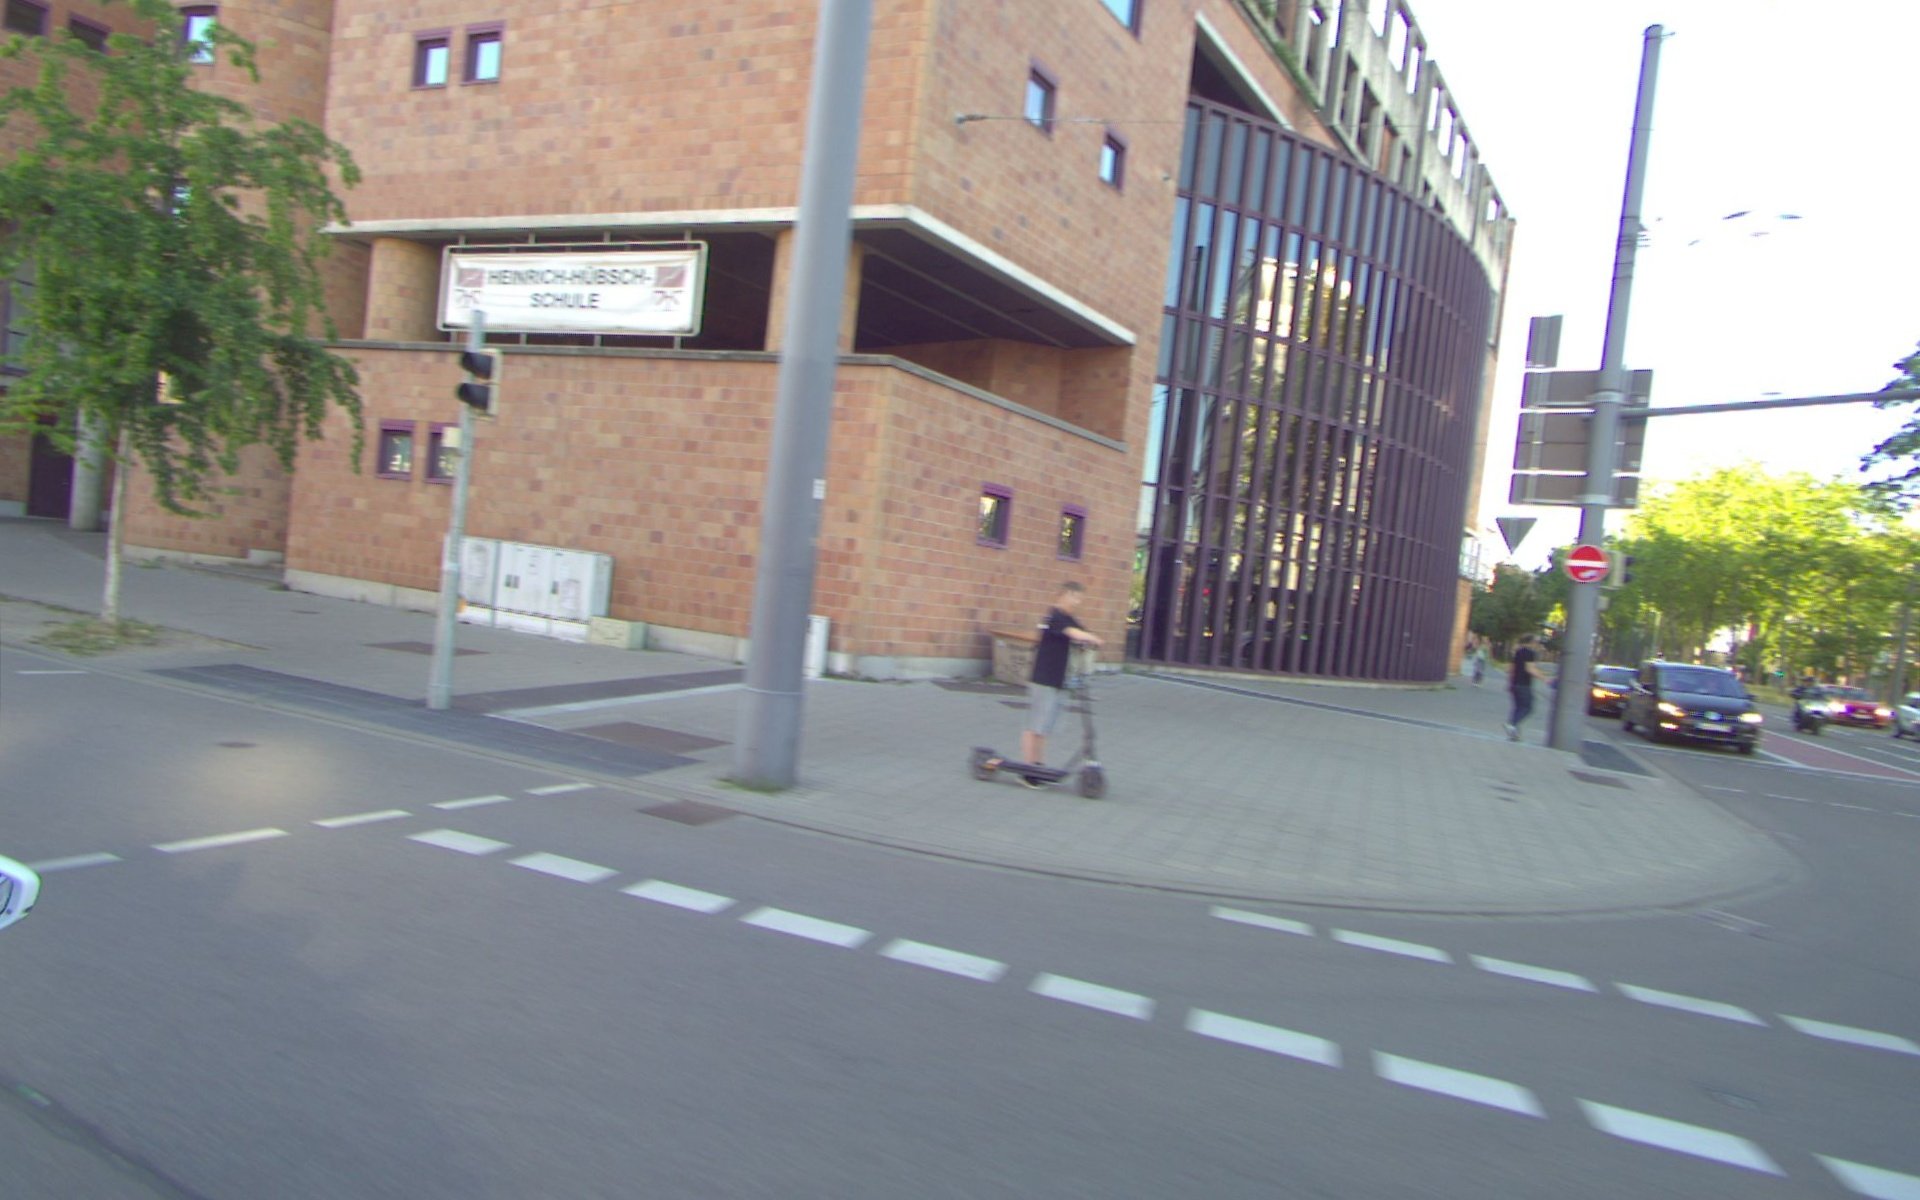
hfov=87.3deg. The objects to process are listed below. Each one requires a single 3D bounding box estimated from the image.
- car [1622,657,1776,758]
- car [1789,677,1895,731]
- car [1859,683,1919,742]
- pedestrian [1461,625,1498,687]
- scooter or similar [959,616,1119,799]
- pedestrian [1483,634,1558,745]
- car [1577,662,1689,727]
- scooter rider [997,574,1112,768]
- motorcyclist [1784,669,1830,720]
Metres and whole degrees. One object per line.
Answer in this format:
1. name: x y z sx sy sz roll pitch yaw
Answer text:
1. car: 15.740 2.201 21.683 1.807 1.675 4.493 6 1 27
2. car: 32.991 3.839 37.771 1.827 1.572 4.318 7 1 27
3. car: 29.923 3.562 31.182 1.827 1.572 4.318 7 1 27
4. pedestrian: 18.030 1.927 34.894 0.884 2.040 0.756 7 2 29
5. scooter or similar: 0.667 0.862 8.388 1.111 1.335 0.529 7 2 16
6. pedestrian: 9.474 1.495 17.013 0.813 1.738 0.661 8 3 42
7. car: 18.997 2.621 28.579 1.888 1.394 3.995 7 1 25
8. scooter rider: 0.790 0.570 8.345 0.708 1.480 0.507 7 2 17
9. motorcyclist: 25.029 2.777 29.737 0.808 1.371 0.746 9 3 34
